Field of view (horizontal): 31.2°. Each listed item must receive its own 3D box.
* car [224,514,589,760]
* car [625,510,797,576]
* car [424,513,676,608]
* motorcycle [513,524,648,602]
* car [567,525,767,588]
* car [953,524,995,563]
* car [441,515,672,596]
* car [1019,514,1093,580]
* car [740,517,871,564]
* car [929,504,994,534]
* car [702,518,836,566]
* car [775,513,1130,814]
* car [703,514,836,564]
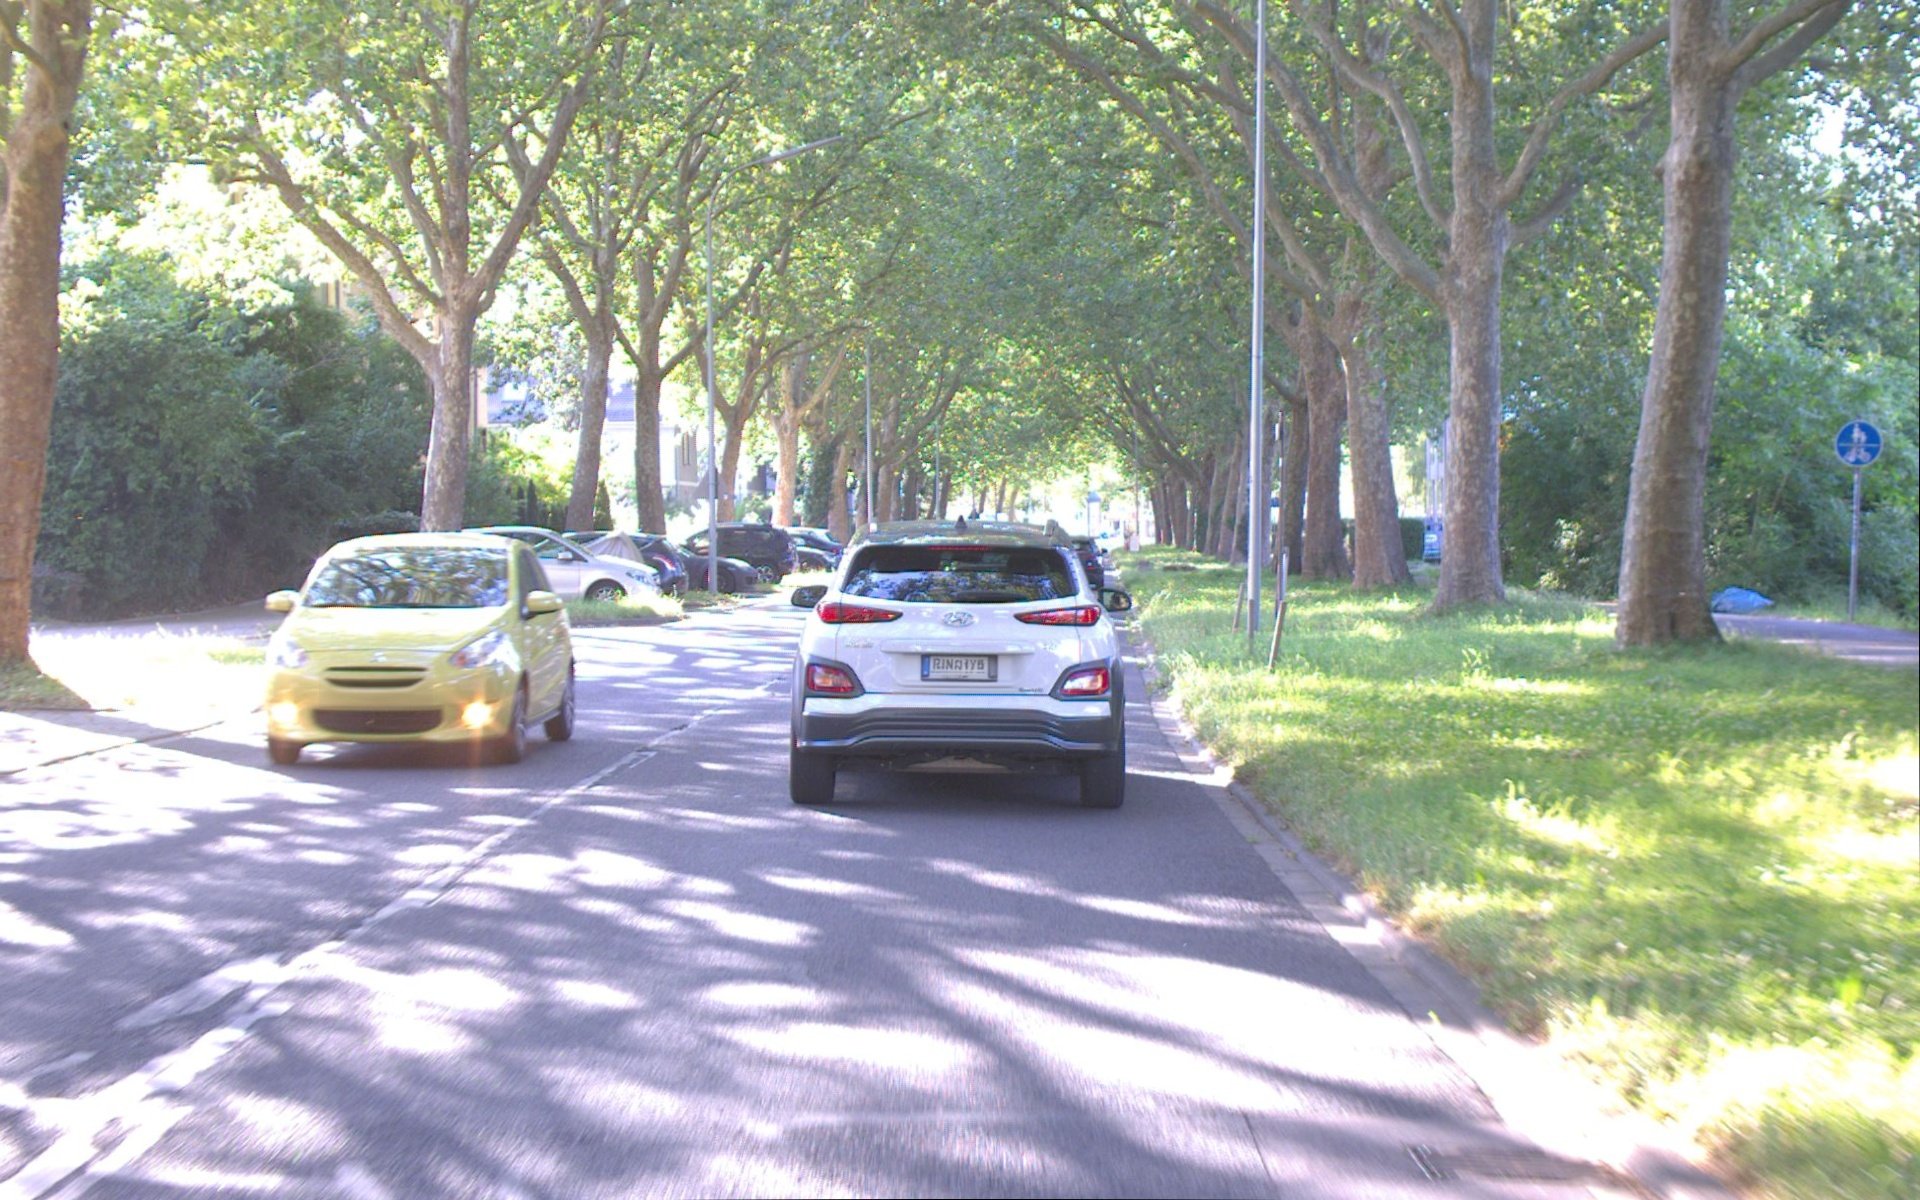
[{"bbox_3d":[-3.653,0.192,23.314,1.784,1.507,3.838,-1,1,1],"label":"car"},{"bbox_3d":[-6.392,-1.478,88.390,4.244,1.674,1.671,0,1,2],"label":"car"},{"bbox_3d":[-7.082,-0.698,59.686,4.183,1.579,2.000,1,1,-2],"label":"car"},{"bbox_3d":[-6.838,-0.667,61.971,2.385,1.383,0.648,0,2,-3],"label":"motorcycle"},{"bbox_3d":[-6.479,-0.973,76.303,4.240,1.348,1.741,-1,1,1],"label":"car"},{"bbox_3d":[0.523,-2.119,129.039,1.535,1.454,3.185,0,1,0],"label":"car"},{"bbox_3d":[-7.574,-0.854,64.798,4.160,1.501,1.802,0,1,-1],"label":"car"},{"bbox_3d":[2.508,-1.407,90.589,1.676,1.690,3.746,0,1,-2],"label":"car"},{"bbox_3d":[-4.899,-1.906,109.603,3.987,1.465,1.809,0,1,4],"label":"car"},{"bbox_3d":[0.099,-5.080,216.044,3.986,1.766,2.000,1,1,-2],"label":"car"},{"bbox_3d":[-5.745,-1.751,103.960,3.986,1.419,1.809,0,1,-1],"label":"car"},{"bbox_3d":[-0.103,0.283,19.875,1.835,1.550,4.001,0,1,-2],"label":"car"},{"bbox_3d":[-5.925,-1.899,107.232,3.987,1.514,1.809,0,1,2],"label":"car"}]
